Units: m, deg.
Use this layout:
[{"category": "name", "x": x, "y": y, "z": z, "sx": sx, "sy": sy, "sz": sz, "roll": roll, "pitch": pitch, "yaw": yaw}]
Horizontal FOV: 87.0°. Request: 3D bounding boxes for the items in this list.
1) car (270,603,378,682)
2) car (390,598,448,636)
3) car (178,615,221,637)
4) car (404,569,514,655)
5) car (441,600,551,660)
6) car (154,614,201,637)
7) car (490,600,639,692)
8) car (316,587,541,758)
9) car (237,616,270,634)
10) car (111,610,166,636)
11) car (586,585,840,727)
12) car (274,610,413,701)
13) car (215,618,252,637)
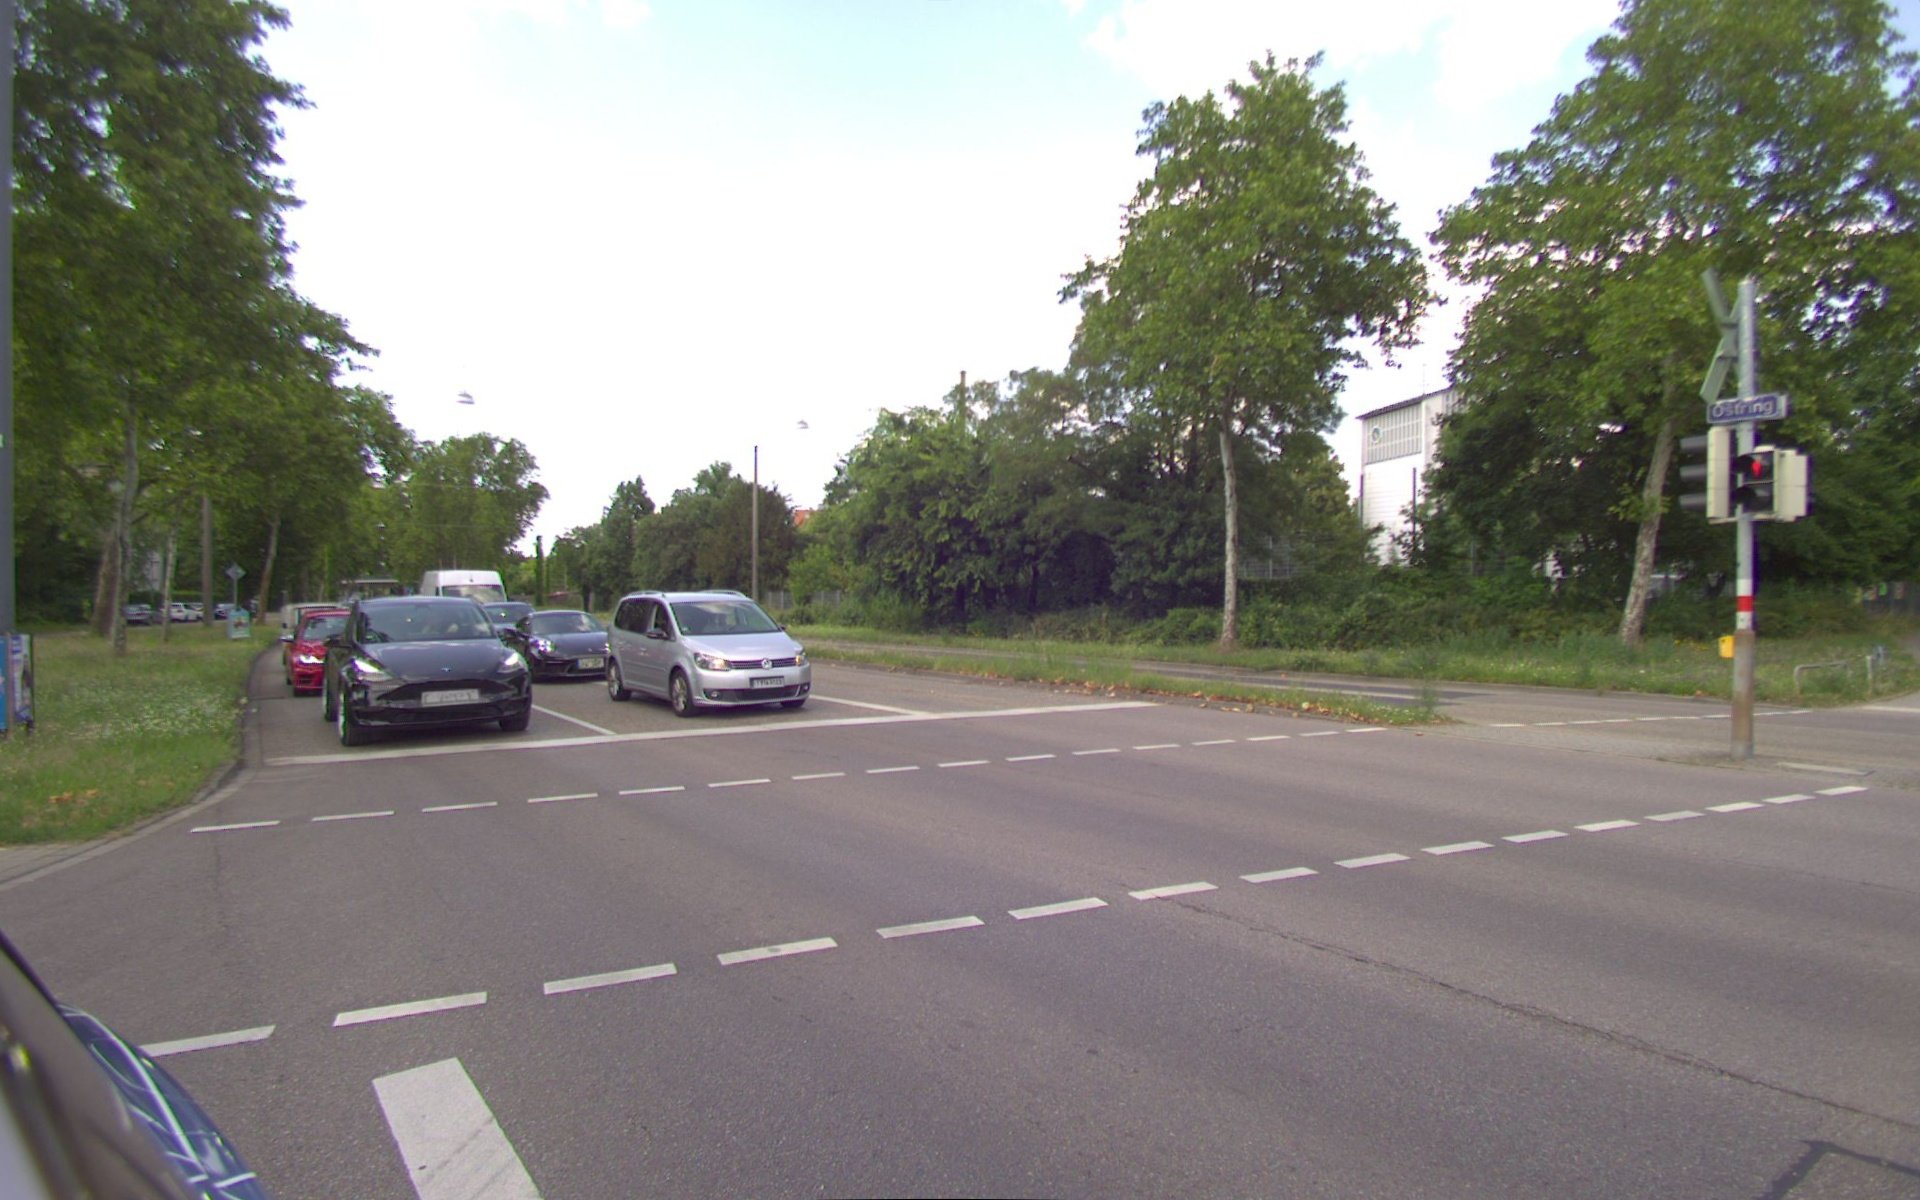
[{"category": "car", "x": -14.873, "y": 0.899, "z": 23.547, "sx": 1.773, "sy": 1.581, "sz": 4.512, "roll": -2, "pitch": 1, "yaw": -36}, {"category": "car", "x": -24.892, "y": 0.730, "z": 46.504, "sx": 1.736, "sy": 1.659, "sz": 4.353, "roll": 0, "pitch": 0, "yaw": -36}, {"category": "car", "x": -59.393, "y": 2.042, "z": 79.086, "sx": 1.746, "sy": 1.608, "sz": 3.668, "roll": 0, "pitch": -2, "yaw": -20}, {"category": "car", "x": -16.605, "y": 0.352, "z": 33.370, "sx": 2.191, "sy": 2.549, "sz": 5.947, "roll": -2, "pitch": 1, "yaw": -36}, {"category": "car", "x": -12.171, "y": 0.728, "z": 26.383, "sx": 1.736, "sy": 1.385, "sz": 4.353, "roll": -2, "pitch": 1, "yaw": -36}, {"category": "car", "x": -57.997, "y": 1.881, "z": 75.055, "sx": 1.746, "sy": 1.608, "sz": 3.668, "roll": 0, "pitch": -2, "yaw": -20}, {"category": "car", "x": -7.763, "y": 0.796, "z": 19.645, "sx": 1.775, "sy": 1.519, "sz": 4.010, "roll": -2, "pitch": 1, "yaw": -35}, {"category": "car", "x": -6.742, "y": 0.723, "z": 12.558, "sx": 1.900, "sy": 1.664, "sz": 4.591, "roll": -2, "pitch": 1, "yaw": -35}, {"category": "car", "x": -67.230, "y": 2.360, "z": 96.380, "sx": 1.746, "sy": 1.608, "sz": 3.668, "roll": 0, "pitch": -2, "yaw": -20}, {"category": "car", "x": -54.088, "y": 1.525, "z": 66.696, "sx": 1.746, "sy": 1.608, "sz": 3.668, "roll": 0, "pitch": -2, "yaw": -20}, {"category": "car", "x": -3.688, "y": 0.664, "z": 14.469, "sx": 1.899, "sy": 1.664, "sz": 4.512, "roll": -2, "pitch": 1, "yaw": -36}, {"category": "car", "x": -11.486, "y": 0.921, "z": 18.719, "sx": 1.773, "sy": 1.401, "sz": 4.512, "roll": -2, "pitch": 1, "yaw": -36}, {"category": "car", "x": -63.939, "y": 2.467, "z": 89.164, "sx": 1.746, "sy": 1.608, "sz": 3.668, "roll": 0, "pitch": -2, "yaw": -20}]
